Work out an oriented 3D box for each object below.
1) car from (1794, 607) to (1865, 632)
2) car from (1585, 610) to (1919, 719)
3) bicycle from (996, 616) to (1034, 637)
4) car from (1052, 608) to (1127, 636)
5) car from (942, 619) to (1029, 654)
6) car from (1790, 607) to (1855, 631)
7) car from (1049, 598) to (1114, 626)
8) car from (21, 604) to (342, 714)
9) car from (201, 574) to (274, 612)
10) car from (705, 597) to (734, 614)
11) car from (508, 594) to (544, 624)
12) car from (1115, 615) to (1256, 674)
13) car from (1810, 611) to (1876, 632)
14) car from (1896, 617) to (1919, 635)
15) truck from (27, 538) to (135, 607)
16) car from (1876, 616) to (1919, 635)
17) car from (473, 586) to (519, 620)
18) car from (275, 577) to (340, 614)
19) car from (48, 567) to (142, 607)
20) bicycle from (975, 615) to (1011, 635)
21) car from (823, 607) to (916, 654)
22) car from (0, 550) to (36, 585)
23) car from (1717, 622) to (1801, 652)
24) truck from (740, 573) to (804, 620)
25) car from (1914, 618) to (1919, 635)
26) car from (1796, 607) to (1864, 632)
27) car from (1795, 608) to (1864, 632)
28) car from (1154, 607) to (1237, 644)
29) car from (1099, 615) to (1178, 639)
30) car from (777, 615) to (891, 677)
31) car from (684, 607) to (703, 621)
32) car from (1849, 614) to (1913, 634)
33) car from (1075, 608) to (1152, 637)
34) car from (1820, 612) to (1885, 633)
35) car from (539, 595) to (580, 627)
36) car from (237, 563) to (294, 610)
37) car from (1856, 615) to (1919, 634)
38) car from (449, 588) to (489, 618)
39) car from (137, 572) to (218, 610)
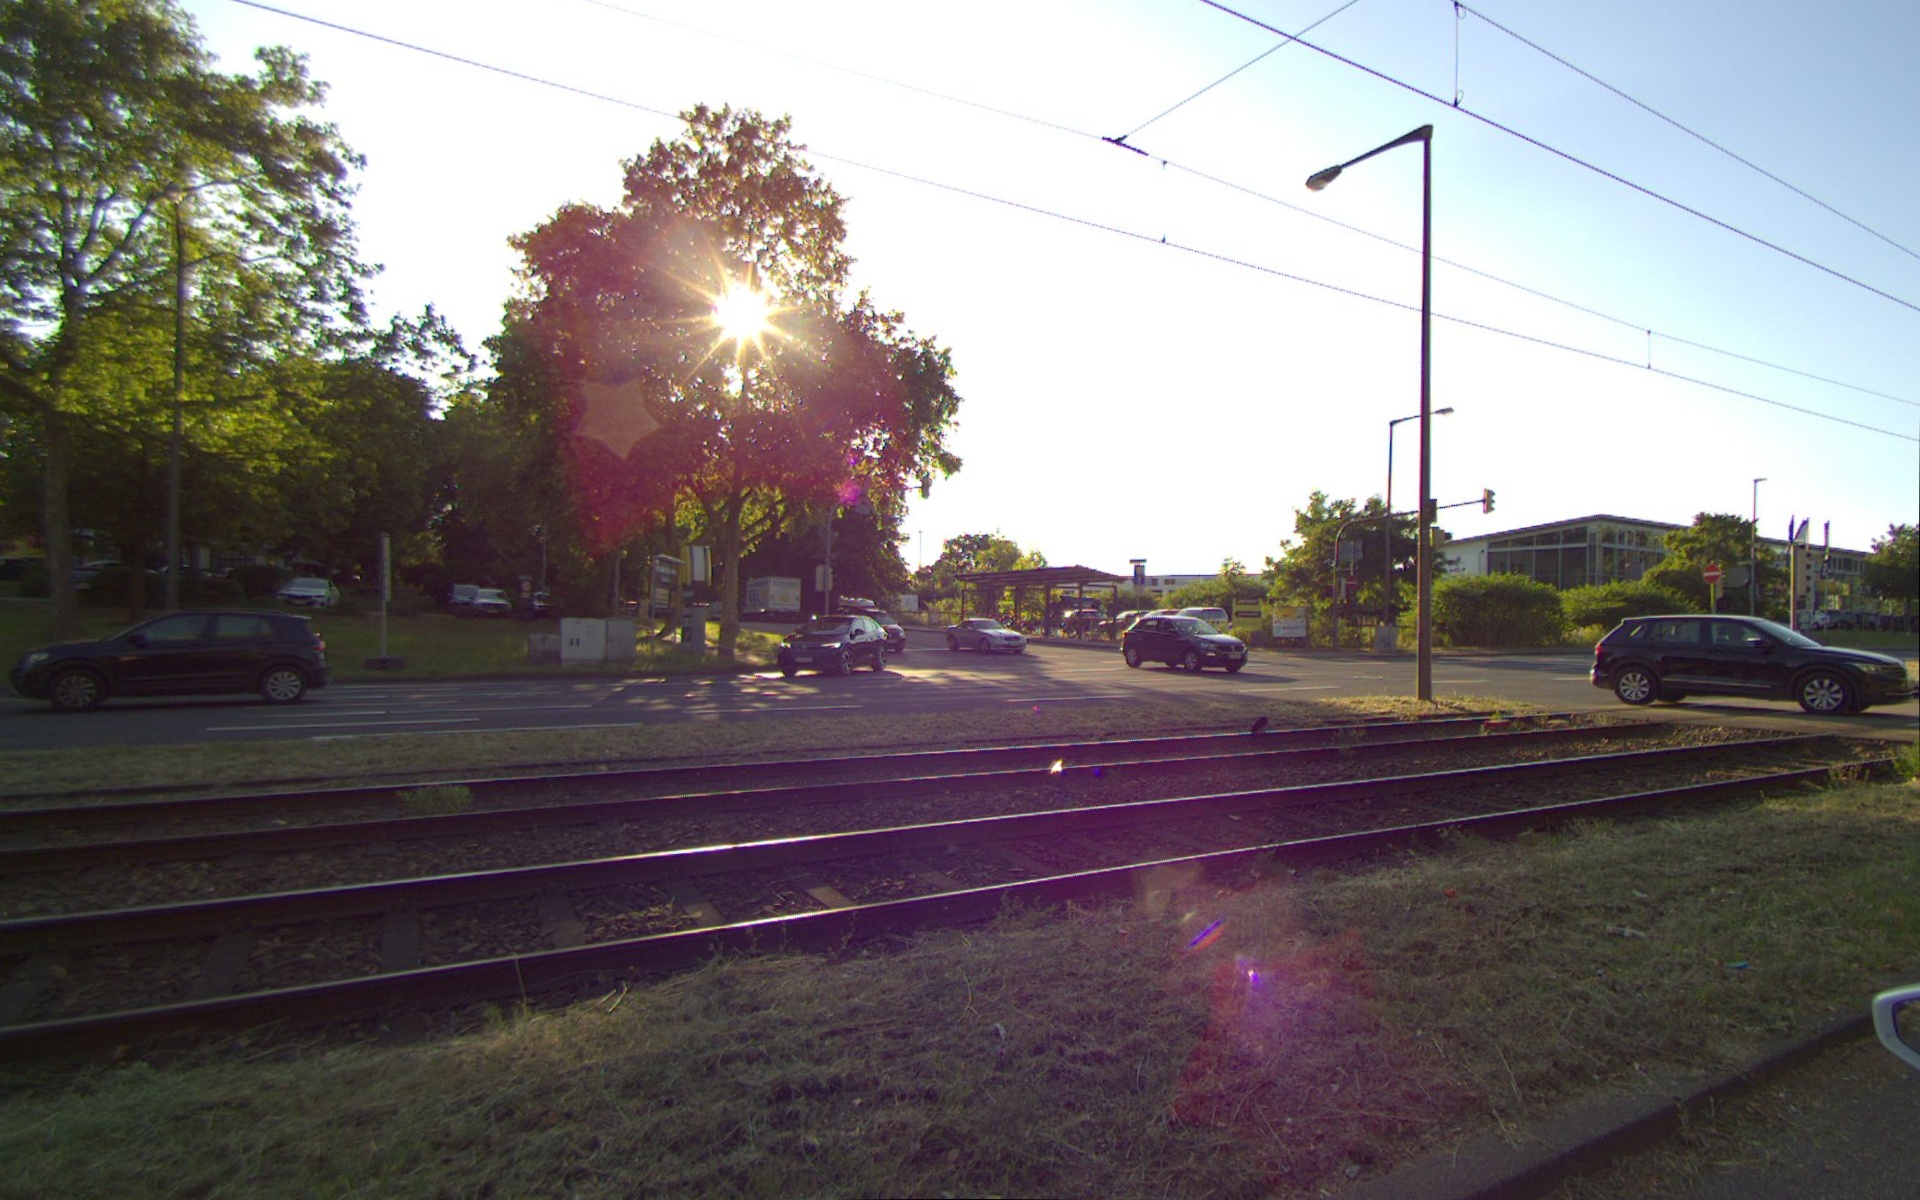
[{"bbox_3d":[65.187,1.449,75.371,3.940,1.727,1.735,1,0,40],"label":"car"},{"bbox_3d":[13.752,1.052,17.648,1.859,1.656,4.328,1,-2,-34],"label":"car"},{"bbox_3d":[3.077,1.486,56.412,2.004,1.119,0.777,2,0,-30],"label":"bicycle"},{"bbox_3d":[7.724,1.302,59.993,4.123,1.604,1.968,1,0,-30],"label":"car"},{"bbox_3d":[0.945,1.406,39.513,1.596,1.311,3.950,1,-1,-31],"label":"car"},{"bbox_3d":[69.333,1.515,80.828,3.940,1.840,1.735,1,0,40],"label":"car"},{"bbox_3d":[9.295,0.949,76.664,4.715,2.041,1.853,1,0,-30],"label":"car"},{"bbox_3d":[-12.480,0.905,16.381,3.937,1.578,1.738,1,-2,-38],"label":"car"},{"bbox_3d":[-32.106,-0.303,44.755,1.916,1.530,4.071,2,0,-26],"label":"car"},{"bbox_3d":[-22.772,0.511,94.963,1.711,1.603,4.028,1,0,-27],"label":"car"},{"bbox_3d":[-26.205,0.523,60.685,1.836,1.637,4.036,2,0,-23],"label":"car"},{"bbox_3d":[6.490,1.236,29.341,1.692,1.581,4.134,0,-1,-29],"label":"car"},{"bbox_3d":[71.996,1.754,81.944,3.940,1.577,1.735,1,0,40],"label":"car"},{"bbox_3d":[88.390,2.392,91.742,1.725,1.642,3.962,1,0,-34],"label":"car"},{"bbox_3d":[-44.506,-1.320,51.064,2.468,3.209,6.187,2,0,-26],"label":"truck"},{"bbox_3d":[84.919,2.282,90.003,1.726,1.576,3.960,1,0,-35],"label":"car"},{"bbox_3d":[-22.927,0.127,49.588,1.916,1.530,4.071,2,0,-26],"label":"car"},{"bbox_3d":[-29.425,-0.202,45.437,1.916,1.530,4.071,2,0,-26],"label":"car"},{"bbox_3d":[-36.080,-0.538,42.020,1.916,1.530,4.071,2,0,-26],"label":"car"},{"bbox_3d":[1.935,1.464,59.048,2.004,1.119,0.777,2,0,-30],"label":"bicycle"},{"bbox_3d":[-3.639,1.165,39.687,1.824,1.656,4.270,1,0,-34],"label":"car"},{"bbox_3d":[-53.852,-1.858,56.381,2.274,1.875,5.220,2,0,-36],"label":"car"},{"bbox_3d":[42.156,1.943,52.997,4.117,1.501,1.856,1,0,-26],"label":"car"},{"bbox_3d":[-15.039,-0.281,79.788,2.782,3.520,8.291,1,0,-27],"label":"truck"},{"bbox_3d":[91.305,2.508,93.022,1.725,1.642,3.962,1,0,-34],"label":"car"},{"bbox_3d":[68.371,1.497,78.982,3.940,1.840,1.735,1,0,40],"label":"car"},{"bbox_3d":[66.733,1.499,77.170,3.940,1.727,1.735,1,0,40],"label":"car"},{"bbox_3d":[12.370,1.336,52.735,4.123,1.846,1.853,1,0,-30],"label":"car"},{"bbox_3d":[9.947,1.497,55.867,4.123,1.284,1.853,1,0,-30],"label":"car"},{"bbox_3d":[-3.387,1.226,27.780,1.702,1.565,4.337,0,-2,13],"label":"car"},{"bbox_3d":[-33.285,1.688,125.340,1.887,1.602,4.036,2,0,-21],"label":"car"},{"bbox_3d":[79.621,2.071,86.892,3.940,1.577,1.735,1,0,40],"label":"car"},{"bbox_3d":[8.828,1.294,57.798,4.123,1.604,1.853,1,0,-30],"label":"car"},{"bbox_3d":[74.216,1.849,83.611,3.940,1.577,1.735,1,0,40],"label":"car"},{"bbox_3d":[-20.432,0.539,51.137,1.604,1.477,3.878,2,0,-27],"label":"car"},{"bbox_3d":[-37.290,-0.731,54.007,2.138,2.334,4.369,2,0,-31],"label":"car"},{"bbox_3d":[81.774,2.159,88.510,1.728,1.576,3.957,1,0,-37],"label":"car"},{"bbox_3d":[-28.565,0.146,58.494,1.836,1.637,4.036,2,0,-23],"label":"car"},{"bbox_3d":[-33.949,-0.376,43.683,1.916,1.530,4.071,2,0,-26],"label":"car"}]
